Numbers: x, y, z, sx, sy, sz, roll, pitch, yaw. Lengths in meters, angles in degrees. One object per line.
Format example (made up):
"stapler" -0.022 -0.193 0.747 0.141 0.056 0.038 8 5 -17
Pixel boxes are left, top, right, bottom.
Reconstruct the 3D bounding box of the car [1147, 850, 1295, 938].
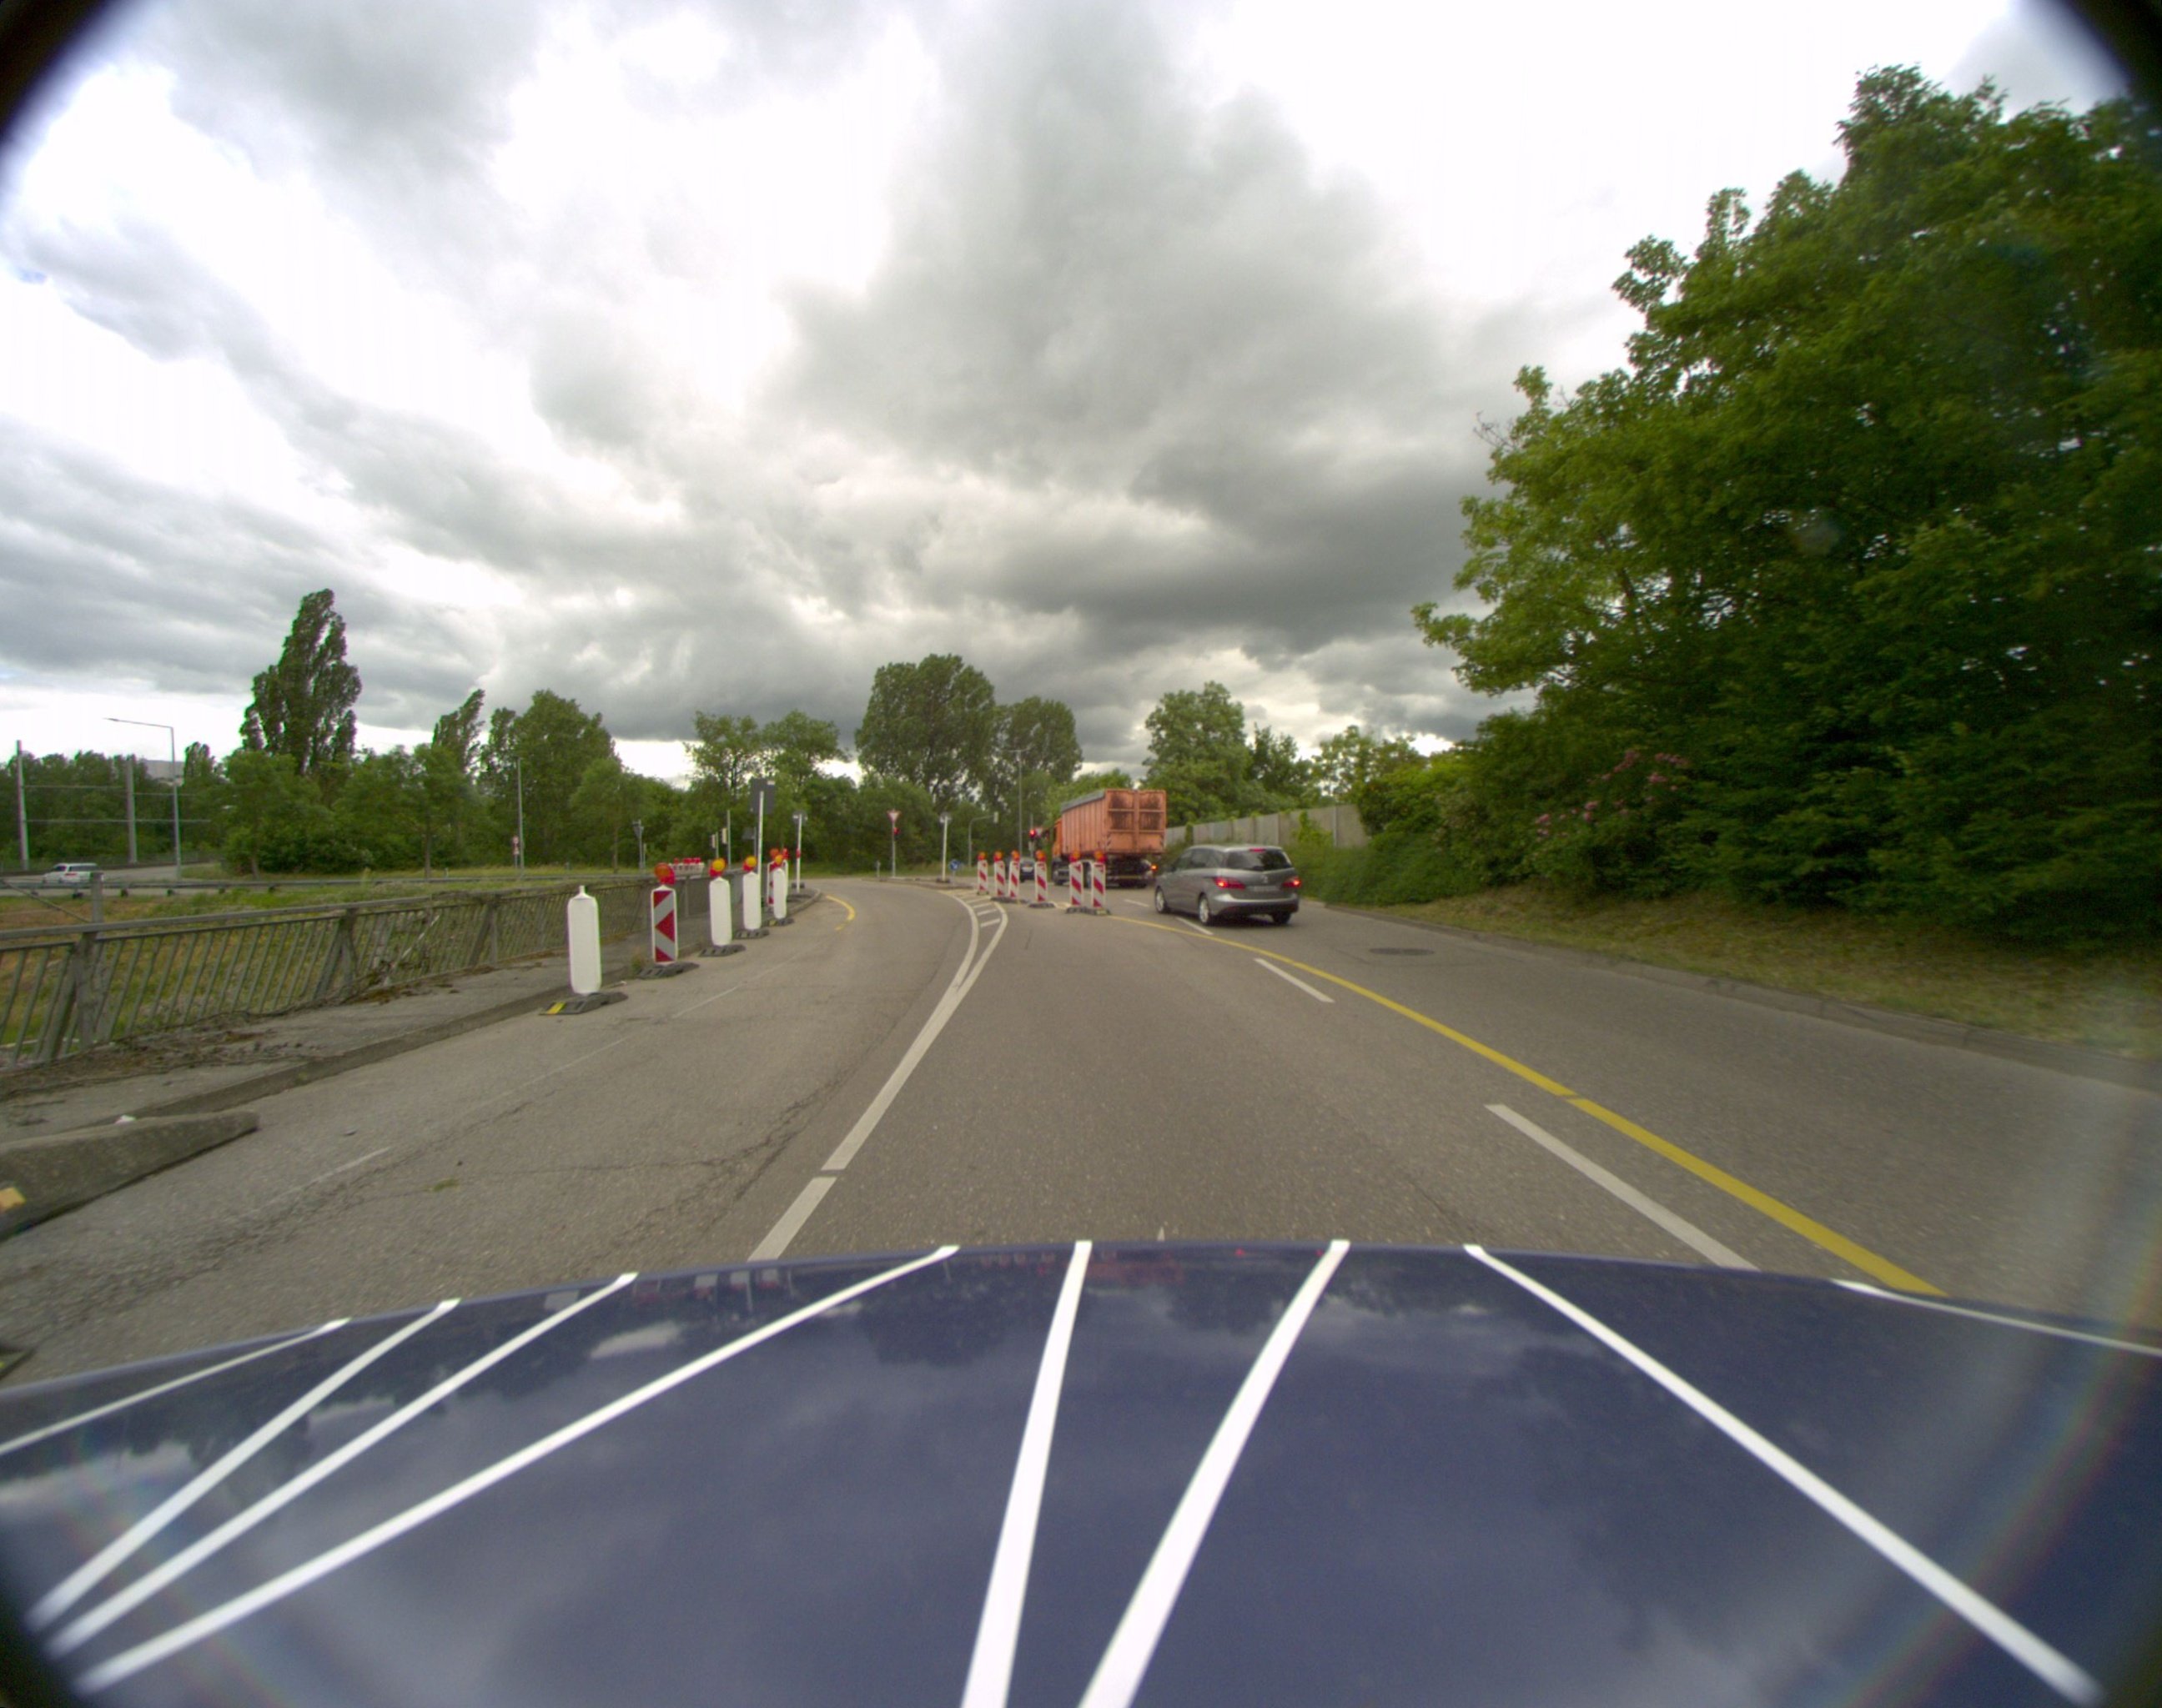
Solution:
"car" 2.788 0.715 16.135 1.638 1.536 4.346 -2 1 -10

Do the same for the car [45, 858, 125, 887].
"car" -68.703 1.286 52.405 4.313 1.748 2.087 -3 -3 19

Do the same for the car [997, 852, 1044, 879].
"car" -3.692 0.702 45.571 1.645 1.542 3.781 1 -1 -23

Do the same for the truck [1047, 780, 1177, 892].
"truck" 1.002 -0.707 33.687 3.122 4.196 9.780 -1 1 -14

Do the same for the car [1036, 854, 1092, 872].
"car" -1.414 0.749 65.100 1.873 1.468 4.974 -2 -1 41
